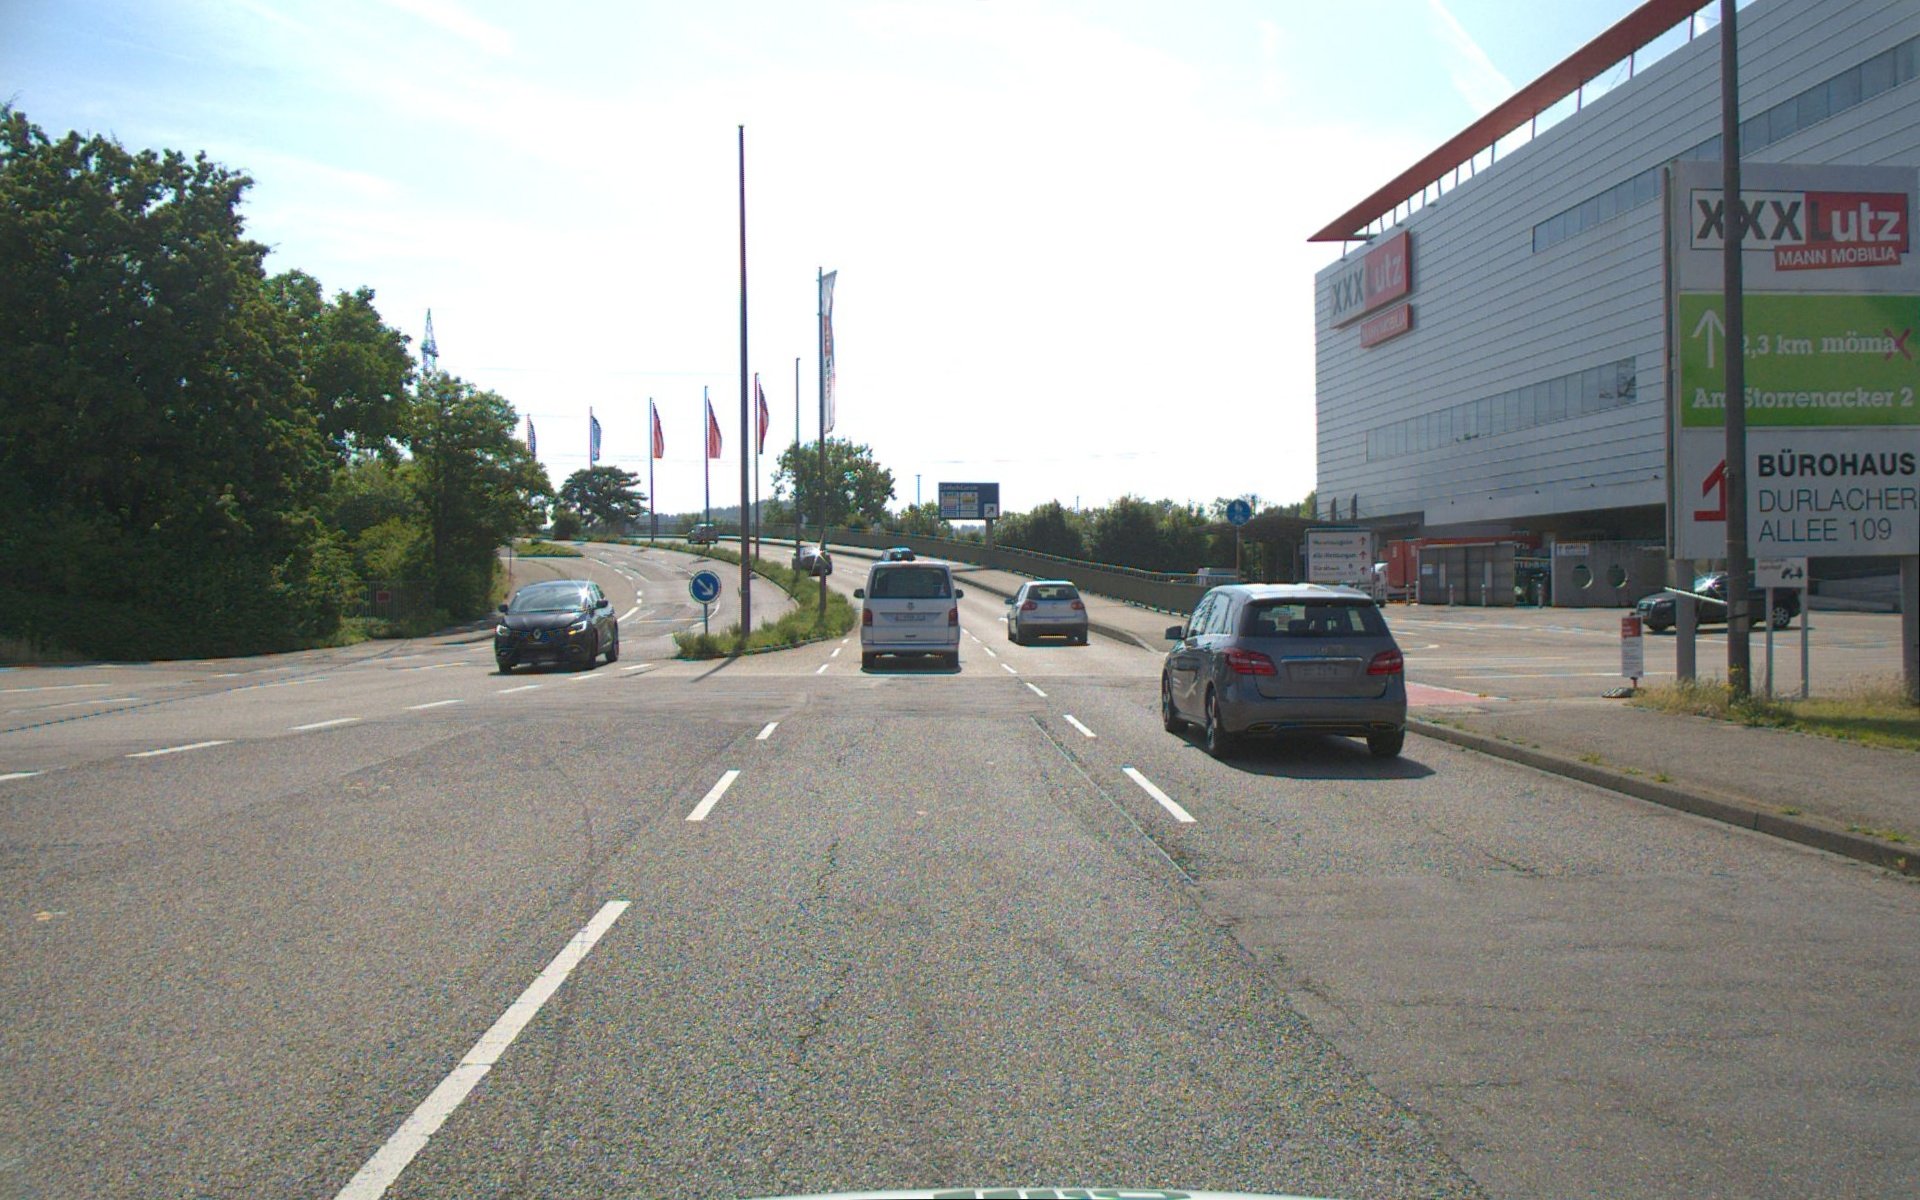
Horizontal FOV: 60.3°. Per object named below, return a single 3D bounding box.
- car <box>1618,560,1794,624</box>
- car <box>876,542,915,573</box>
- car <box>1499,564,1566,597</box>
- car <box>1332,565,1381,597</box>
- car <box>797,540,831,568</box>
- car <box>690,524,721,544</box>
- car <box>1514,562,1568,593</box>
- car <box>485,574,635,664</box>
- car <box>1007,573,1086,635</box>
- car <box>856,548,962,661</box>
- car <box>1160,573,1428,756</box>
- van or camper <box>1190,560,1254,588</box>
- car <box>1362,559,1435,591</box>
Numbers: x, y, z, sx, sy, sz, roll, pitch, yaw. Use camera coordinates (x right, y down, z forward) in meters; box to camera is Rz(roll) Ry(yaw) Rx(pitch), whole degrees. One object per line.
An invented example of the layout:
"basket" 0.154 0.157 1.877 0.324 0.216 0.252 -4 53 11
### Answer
"car" 21.762 -0.250 48.304 4.339 1.642 1.835 -3 1 -7
"car" -3.457 -2.288 88.408 1.504 1.505 3.586 1 3 -12
"car" 27.297 -0.965 78.964 1.639 1.535 4.091 0 1 -3
"car" 22.408 -1.071 93.560 1.639 1.782 4.091 0 1 -3
"car" -8.420 -2.627 95.306 1.504 1.505 3.236 1 0 -13
"car" -20.894 -5.425 135.798 1.514 1.505 3.393 1 0 -29
"car" 29.180 -1.143 83.130 1.480 1.494 3.252 0 1 -3
"car" -7.734 0.319 32.385 1.876 1.634 4.272 0 1 0
"car" 2.093 0.069 40.756 1.633 1.439 3.681 0 1 -2
"car" -0.943 0.056 31.965 1.878 2.010 4.296 1 1 -1
"car" 3.130 0.524 16.340 1.738 1.566 4.137 0 1 -1
"van or camper" 22.807 -2.230 143.993 5.356 2.217 2.087 2 -1 -27
"car" 27.595 -1.574 104.211 4.105 1.962 1.775 0 1 -4
